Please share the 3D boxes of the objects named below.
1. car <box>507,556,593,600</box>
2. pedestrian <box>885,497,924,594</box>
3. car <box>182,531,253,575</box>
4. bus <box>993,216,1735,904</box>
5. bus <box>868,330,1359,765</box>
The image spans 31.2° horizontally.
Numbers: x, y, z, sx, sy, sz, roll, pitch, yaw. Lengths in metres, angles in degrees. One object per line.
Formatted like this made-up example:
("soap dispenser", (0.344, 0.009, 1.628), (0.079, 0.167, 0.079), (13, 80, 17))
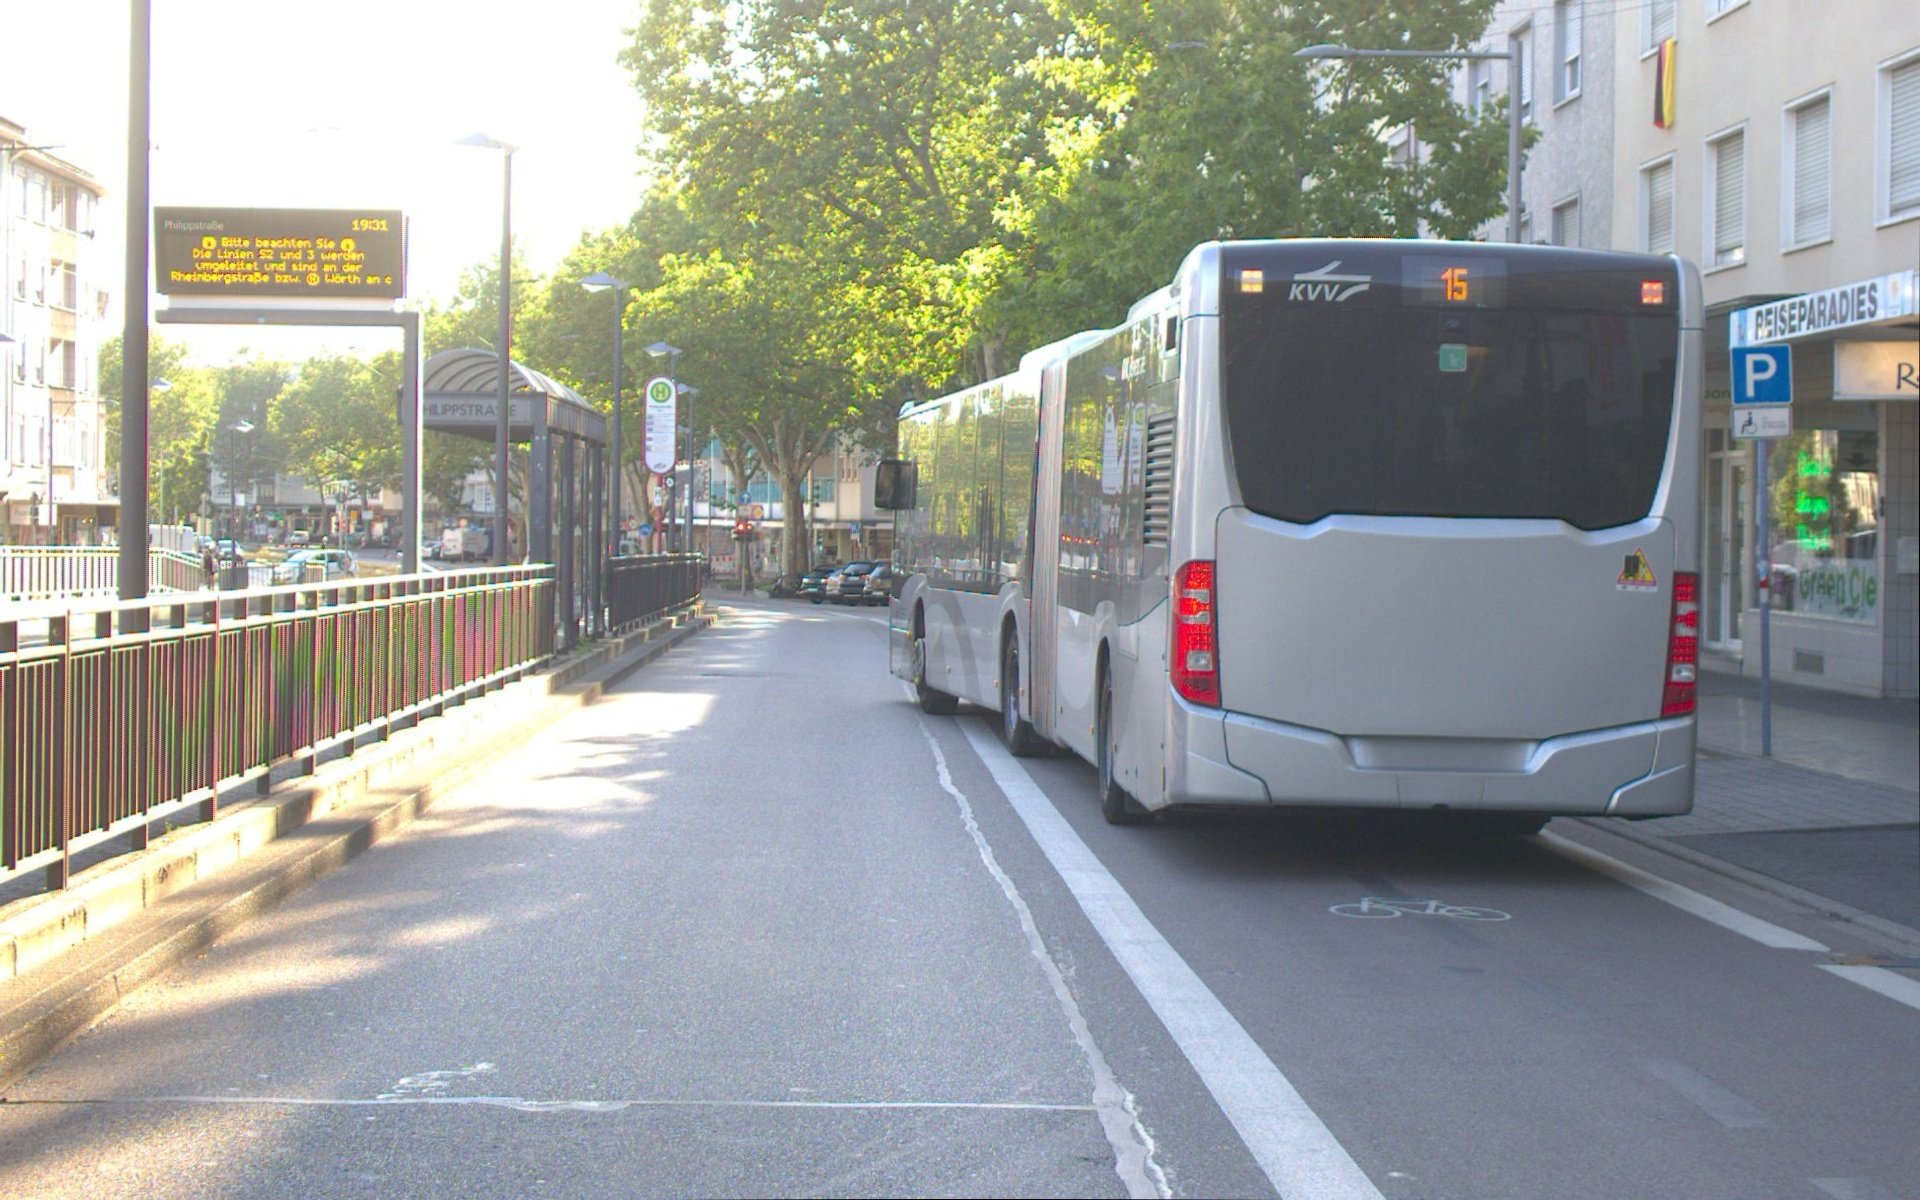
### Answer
("car", (-19.535, -1.050, 163.653), (3.986, 2.007, 1.963), (0, 1, -9))
("pedestrian", (-1.463, -1.445, 90.741), (0.889, 2.537, 1.163), (0, 1, 5))
("car", (-28.736, -1.822, 133.197), (1.993, 1.645, 4.000), (0, 1, -2))
("bus", (1.904, -0.273, 20.452), (2.696, 3.107, 9.383), (1, 1, -4))
("bus", (1.006, -0.471, 29.500), (2.696, 3.107, 9.072), (1, 1, -7))
